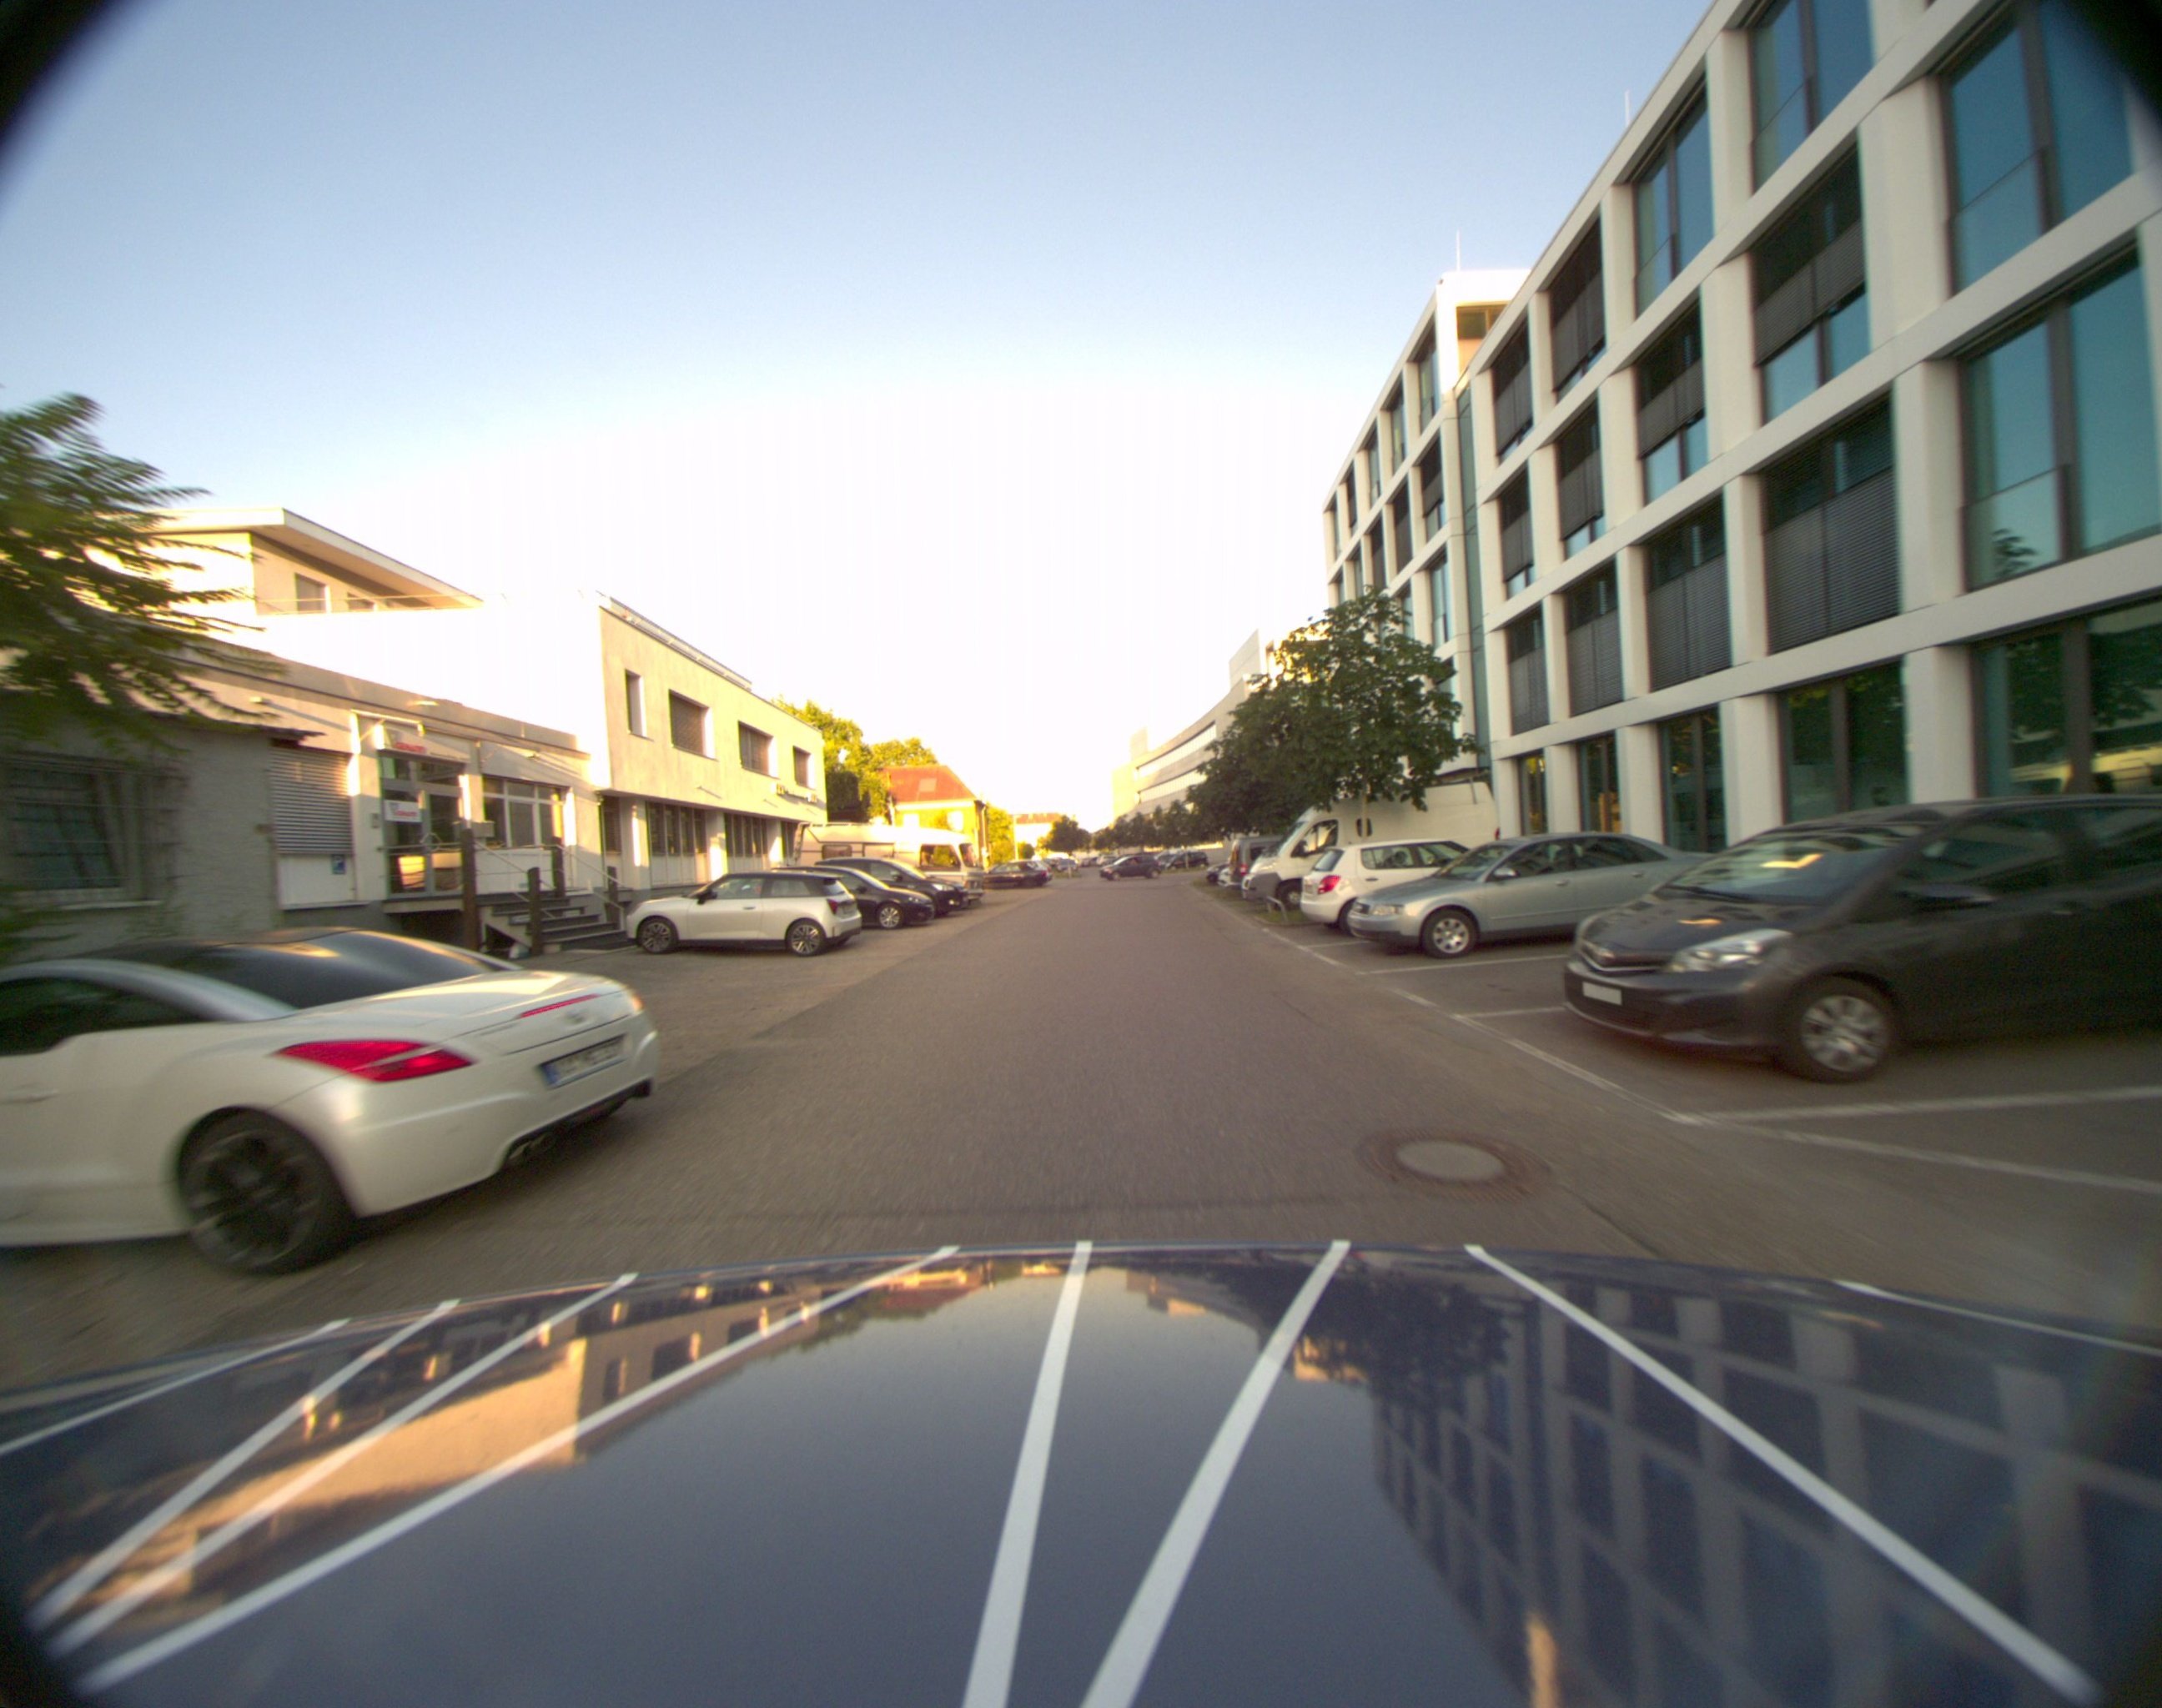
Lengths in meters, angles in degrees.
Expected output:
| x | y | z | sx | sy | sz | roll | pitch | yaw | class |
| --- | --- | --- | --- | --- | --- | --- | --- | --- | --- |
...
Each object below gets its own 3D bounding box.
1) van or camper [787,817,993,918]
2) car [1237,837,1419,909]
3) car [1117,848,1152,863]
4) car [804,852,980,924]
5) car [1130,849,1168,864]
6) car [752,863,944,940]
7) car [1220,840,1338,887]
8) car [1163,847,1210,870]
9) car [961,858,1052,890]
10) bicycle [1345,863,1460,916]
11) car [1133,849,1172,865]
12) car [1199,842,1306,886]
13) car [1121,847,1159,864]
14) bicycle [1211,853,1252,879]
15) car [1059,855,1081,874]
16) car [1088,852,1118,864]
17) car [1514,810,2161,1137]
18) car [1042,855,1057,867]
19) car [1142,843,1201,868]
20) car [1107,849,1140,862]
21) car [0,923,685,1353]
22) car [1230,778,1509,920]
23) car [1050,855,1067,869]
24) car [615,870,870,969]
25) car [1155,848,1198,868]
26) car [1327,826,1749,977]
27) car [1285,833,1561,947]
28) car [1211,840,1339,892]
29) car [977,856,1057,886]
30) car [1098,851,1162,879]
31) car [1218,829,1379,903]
| x | y | z | sx | sy | sz | roll | pitch | yaw | class |
| --- | --- | --- | --- | --- | --- | --- | --- | --- | --- |
| -5.928 | 0.392 | 24.269 | 5.795 | 2.848 | 2.486 | -2 | 1 | 0 | van or camper |
| 6.406 | 0.482 | 20.028 | 4.119 | 1.491 | 1.774 | -4 | 0 | -1 | car |
| 6.681 | 0.206 | 94.905 | 4.028 | 1.574 | 1.798 | -5 | 0 | -9 | car |
| -5.171 | 0.916 | 21.121 | 4.249 | 1.731 | 1.968 | -2 | 1 | 6 | car |
| 7.527 | 0.295 | 84.204 | 3.812 | 1.353 | 1.799 | -5 | 0 | -3 | car |
| -5.438 | 1.092 | 18.144 | 4.015 | 1.554 | 1.711 | -2 | 0 | -3 | car |
| 7.762 | 0.369 | 30.072 | 4.118 | 1.509 | 1.845 | -4 | 0 | 2 | car |
| 8.862 | 0.373 | 63.988 | 3.654 | 1.538 | 1.726 | -5 | 0 | 2 | car |
| -3.683 | 0.981 | 37.962 | 4.326 | 1.326 | 1.896 | -2 | 1 | -1 | car |
| 6.158 | 0.697 | 14.672 | 0.675 | 0.910 | 1.908 | -4 | -1 | -36 | bicycle |
| 7.675 | 0.310 | 81.662 | 3.812 | 1.353 | 1.799 | -5 | 0 | -3 | car |
| 7.323 | 0.422 | 32.679 | 4.118 | 1.509 | 1.845 | -4 | 0 | 1 | car |
| 6.966 | 0.183 | 89.846 | 4.028 | 1.574 | 1.798 | -5 | 0 | -9 | car |
| 6.899 | 0.546 | 34.899 | 1.700 | 1.059 | 0.566 | -5 | 0 | 4 | bicycle |
| -0.945 | 0.886 | 65.453 | 1.680 | 1.454 | 4.368 | -3 | 0 | 1 | car |
| 3.221 | 0.586 | 110.208 | 4.028 | 1.340 | 1.798 | -5 | 0 | -9 | car |
| 5.205 | 0.612 | 4.866 | 3.790 | 1.513 | 1.693 | -4 | 0 | 1 | car |
| -3.922 | 0.863 | 95.774 | 1.770 | 1.454 | 4.367 | -3 | 0 | -2 | car |
| 8.544 | 0.113 | 71.902 | 5.083 | 1.870 | 1.888 | -5 | 0 | -3 | car |
| 5.559 | 0.257 | 99.812 | 4.028 | 1.340 | 1.798 | -5 | 0 | -9 | car |
| -4.610 | 1.256 | 3.836 | 4.212 | 1.359 | 1.824 | -4 | 0 | 5 | car |
| 6.313 | -0.091 | 17.228 | 5.393 | 2.617 | 2.079 | -4 | 0 | 4 | car |
| -2.516 | 0.887 | 84.248 | 1.770 | 1.454 | 4.367 | -3 | 0 | -2 | car |
| -5.894 | 1.115 | 13.555 | 3.714 | 1.470 | 1.712 | -2 | 0 | 0 | car |
| 8.697 | 0.369 | 69.224 | 3.654 | 1.416 | 1.725 | -5 | 0 | 1 | car |
| 5.691 | 0.577 | 9.949 | 4.317 | 1.486 | 1.795 | -4 | 0 | 4 | car |
| 5.502 | 0.567 | 12.606 | 3.716 | 1.486 | 1.708 | -4 | 0 | 3 | car |
| 6.925 | 0.413 | 27.459 | 4.118 | 1.509 | 1.781 | -4 | 0 | 2 | car |
| -3.341 | 0.900 | 40.376 | 4.066 | 1.399 | 1.896 | -2 | 0 | -1 | car |
| 3.104 | 0.681 | 48.295 | 3.737 | 1.486 | 1.648 | -4 | 0 | -10 | car |
| 6.350 | 0.346 | 22.485 | 4.119 | 1.806 | 1.816 | -4 | 0 | -1 | car |
